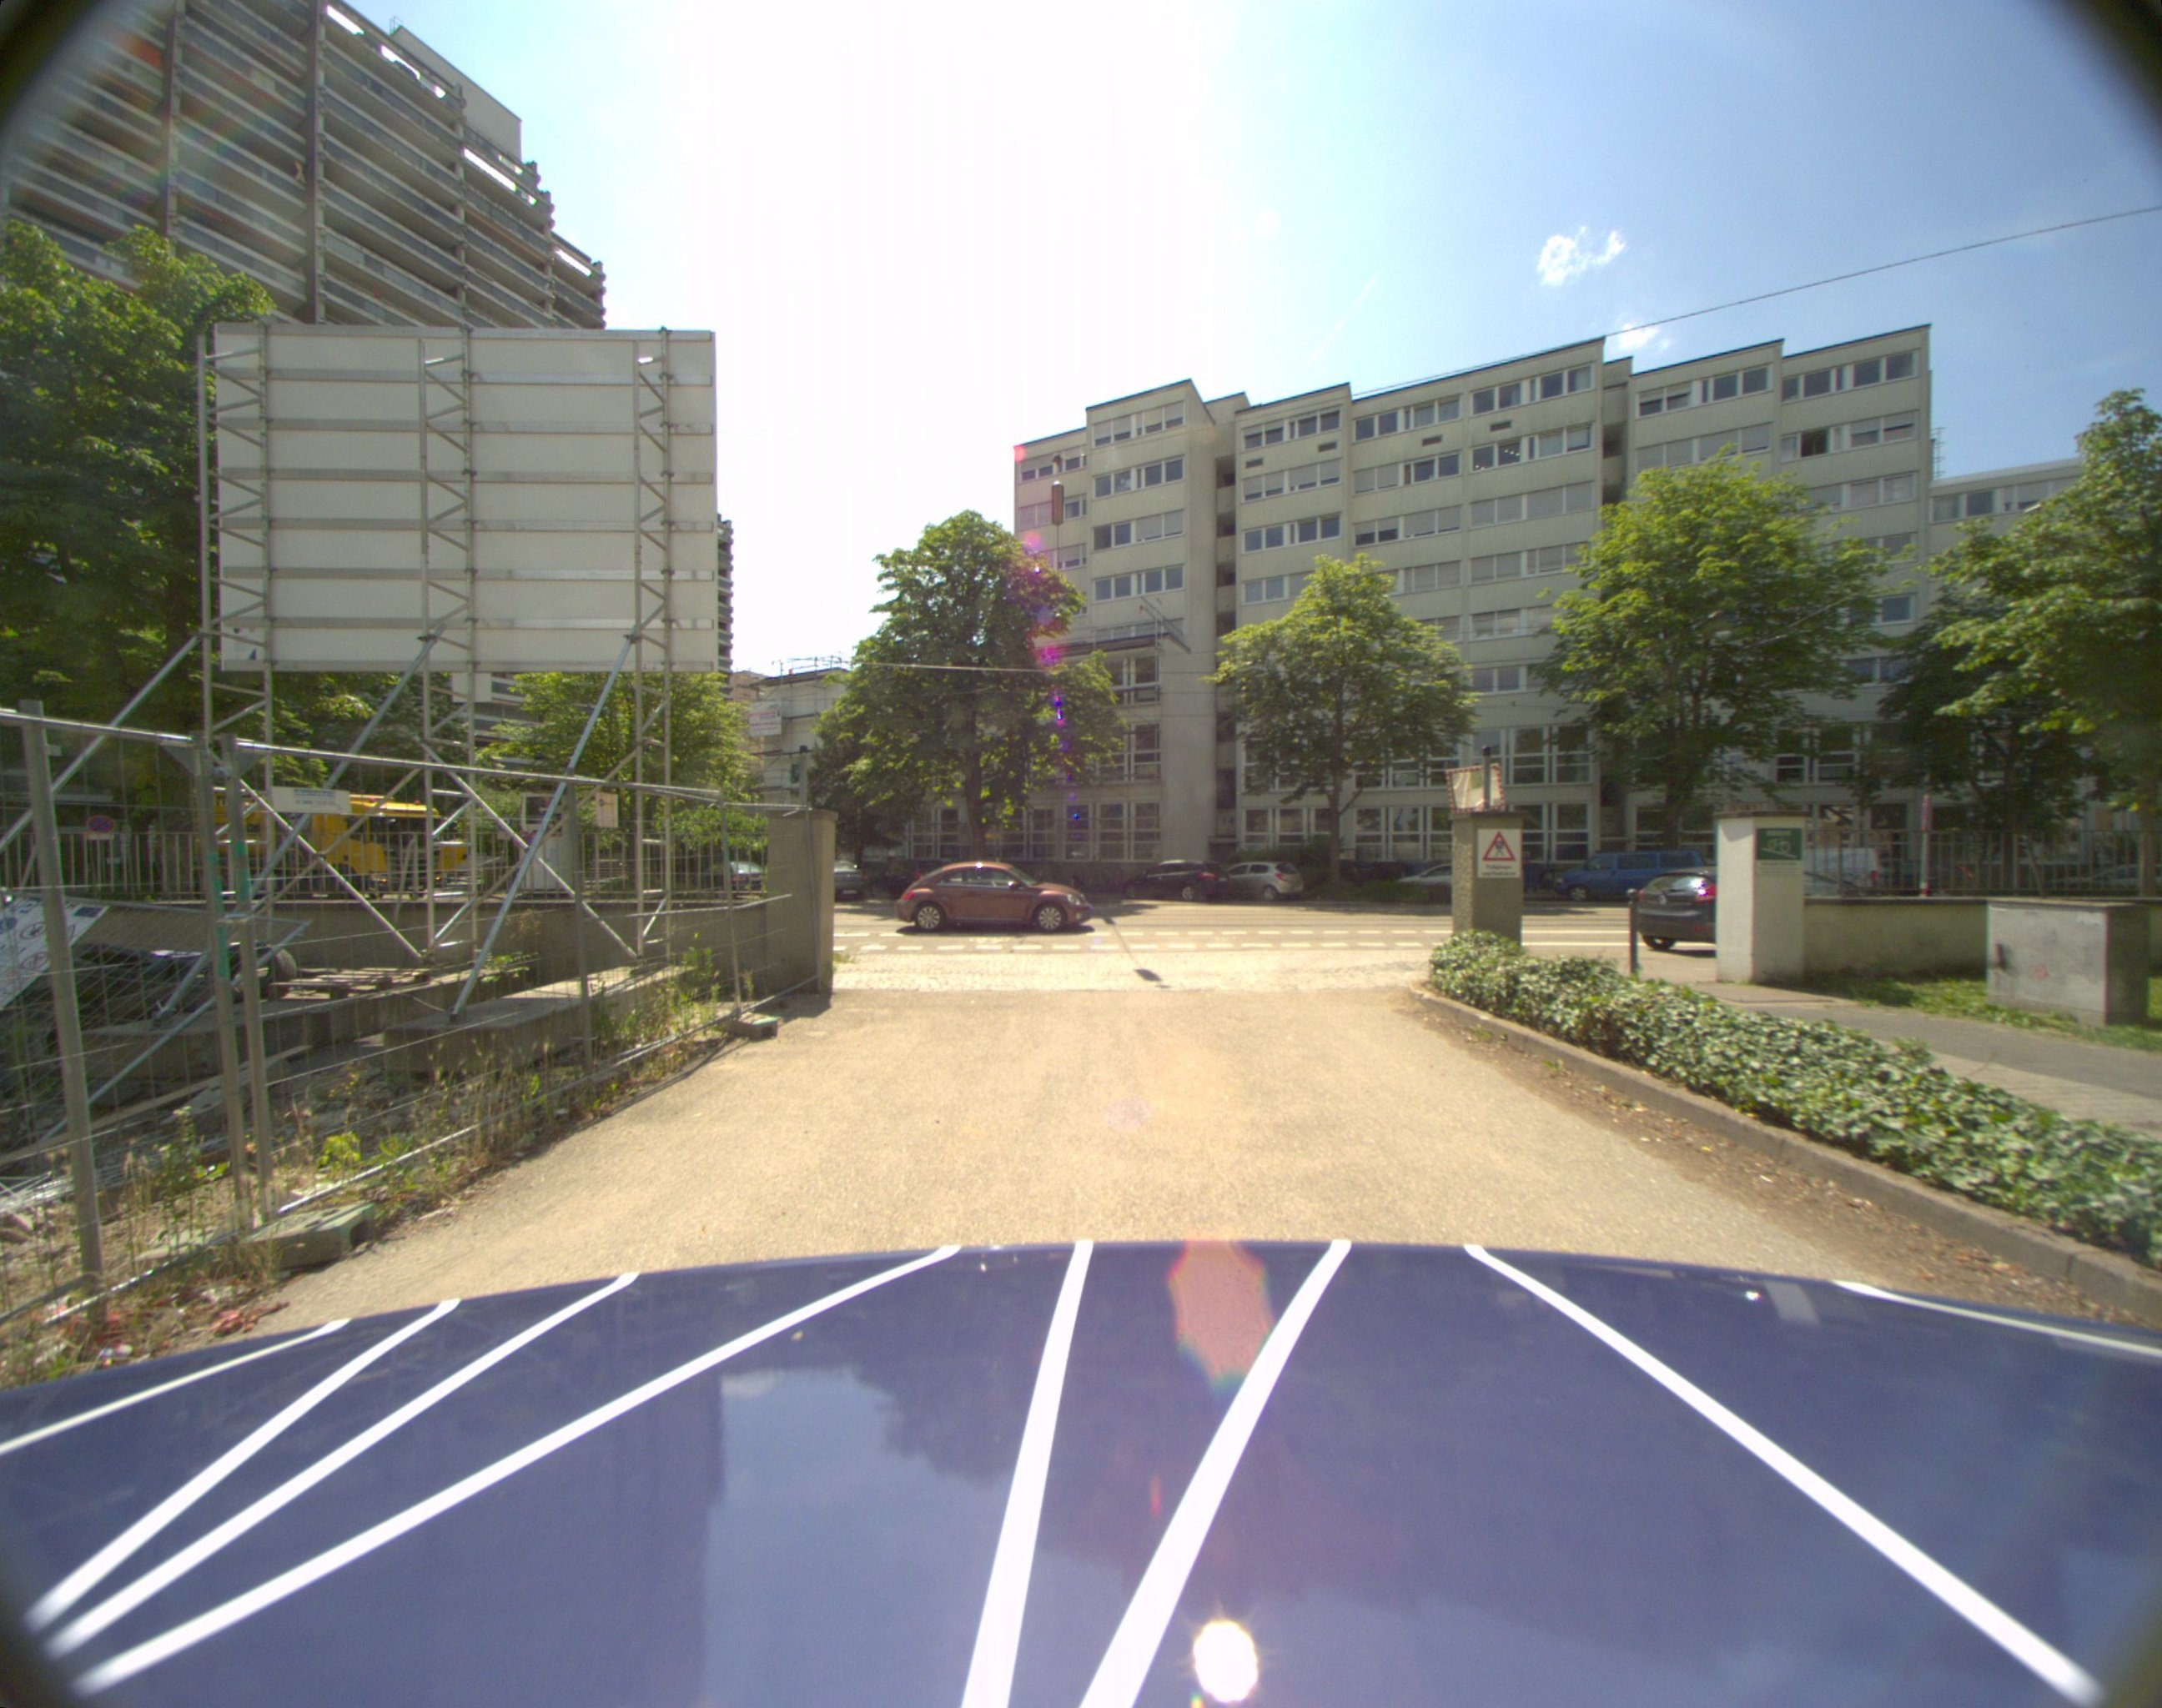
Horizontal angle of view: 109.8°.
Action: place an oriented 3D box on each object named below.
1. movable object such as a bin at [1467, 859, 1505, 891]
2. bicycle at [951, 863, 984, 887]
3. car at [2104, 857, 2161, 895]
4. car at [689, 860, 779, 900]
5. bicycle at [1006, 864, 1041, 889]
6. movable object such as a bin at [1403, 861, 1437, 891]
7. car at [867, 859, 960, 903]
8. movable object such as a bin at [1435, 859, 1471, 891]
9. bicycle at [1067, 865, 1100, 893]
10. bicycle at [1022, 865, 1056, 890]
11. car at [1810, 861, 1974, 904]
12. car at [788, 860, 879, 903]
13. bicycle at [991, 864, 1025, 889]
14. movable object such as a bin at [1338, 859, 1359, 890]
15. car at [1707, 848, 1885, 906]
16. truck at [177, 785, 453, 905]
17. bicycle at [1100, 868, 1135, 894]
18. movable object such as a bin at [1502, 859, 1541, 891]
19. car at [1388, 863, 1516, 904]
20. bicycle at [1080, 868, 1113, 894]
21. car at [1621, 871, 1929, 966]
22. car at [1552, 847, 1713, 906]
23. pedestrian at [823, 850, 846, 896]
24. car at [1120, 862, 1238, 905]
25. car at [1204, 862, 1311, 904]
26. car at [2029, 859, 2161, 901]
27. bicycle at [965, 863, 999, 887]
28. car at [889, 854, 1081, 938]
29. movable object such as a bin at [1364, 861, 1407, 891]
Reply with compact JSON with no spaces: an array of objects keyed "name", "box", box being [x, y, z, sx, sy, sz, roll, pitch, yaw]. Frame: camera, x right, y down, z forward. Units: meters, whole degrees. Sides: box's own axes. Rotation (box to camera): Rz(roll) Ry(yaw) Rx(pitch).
[{"name":"movable object such as a bin","box":[18.004,0.917,33.805,1.180,1.390,1.038,0,0,8]},{"name":"bicycle","box":[-5.484,0.984,36.767,0.567,1.124,1.931,0,0,28]},{"name":"car","box":[43.554,0.866,29.603,1.950,1.499,3.994,0,0,-17]},{"name":"car","box":[-12.847,0.914,28.034,4.011,1.365,1.633,0,0,43]},{"name":"bicycle","box":[-2.653,1.029,35.140,0.567,1.124,1.948,0,0,31]},{"name":"movable object such as a bin","box":[15.056,0.963,33.758,1.076,1.322,0.971,0,0,1]},{"name":"car","box":[-6.248,0.947,28.245,3.565,1.508,1.654,0,0,43]},{"name":"movable object such as a bin","box":[16.589,0.924,33.876,1.180,1.390,1.038,0,0,8]},{"name":"bicycle","box":[0.114,1.126,34.510,0.567,1.230,1.948,0,0,31]},{"name":"bicycle","box":[-1.908,1.053,34.848,0.567,1.124,1.948,0,0,31]},{"name":"car","box":[30.133,1.010,28.347,1.674,1.477,3.990,0,0,-34]},{"name":"car","box":[-9.213,0.972,28.131,1.823,1.454,4.011,0,0,-41]},{"name":"bicycle","box":[-3.418,1.033,35.777,0.567,1.124,1.948,0,0,31]},{"name":"movable object such as a bin","box":[12.330,0.957,35.041,0.802,1.397,0.768,0,0,14]},{"name":"car","box":[26.603,0.804,28.423,2.004,2.002,4.618,0,0,-38]},{"name":"truck","box":[-28.148,-0.296,27.910,9.725,3.983,2.754,0,1,16]},{"name":"bicycle","box":[1.629,1.182,33.864,0.567,1.124,2.239,0,0,31]},{"name":"movable object such as a bin","box":[19.532,0.910,33.723,1.180,1.390,1.038,0,0,8]},{"name":"car","box":[13.788,1.053,28.402,3.970,1.405,1.719,0,0,43]},{"name":"bicycle","box":[0.725,1.181,33.970,0.567,1.124,1.948,0,0,31]},{"name":"car","box":[11.306,1.019,12.530,3.724,1.447,1.589,0,-2,-4]},{"name":"car","box":[20.436,0.788,28.302,4.617,2.002,2.004,0,0,44]},{"name":"pedestrian","box":[-10.000,0.767,30.857,0.576,1.863,0.716,0,0,13]},{"name":"car","box":[3.636,1.054,28.642,4.185,1.461,1.758,0,0,43]},{"name":"car","box":[6.634,1.044,28.712,3.530,1.453,1.758,0,0,43]},{"name":"car","box":[39.637,0.986,29.048,3.987,1.379,1.754,3,4,43]},{"name":"bicycle","box":[-4.746,0.987,36.511,0.567,1.124,1.931,0,0,28]},{"name":"car","box":[-2.003,0.880,16.917,3.997,1.679,1.999,0,2,0]},{"name":"movable object such as a bin","box":[13.482,0.969,33.694,1.451,1.322,1.126,0,-1,1]}]
